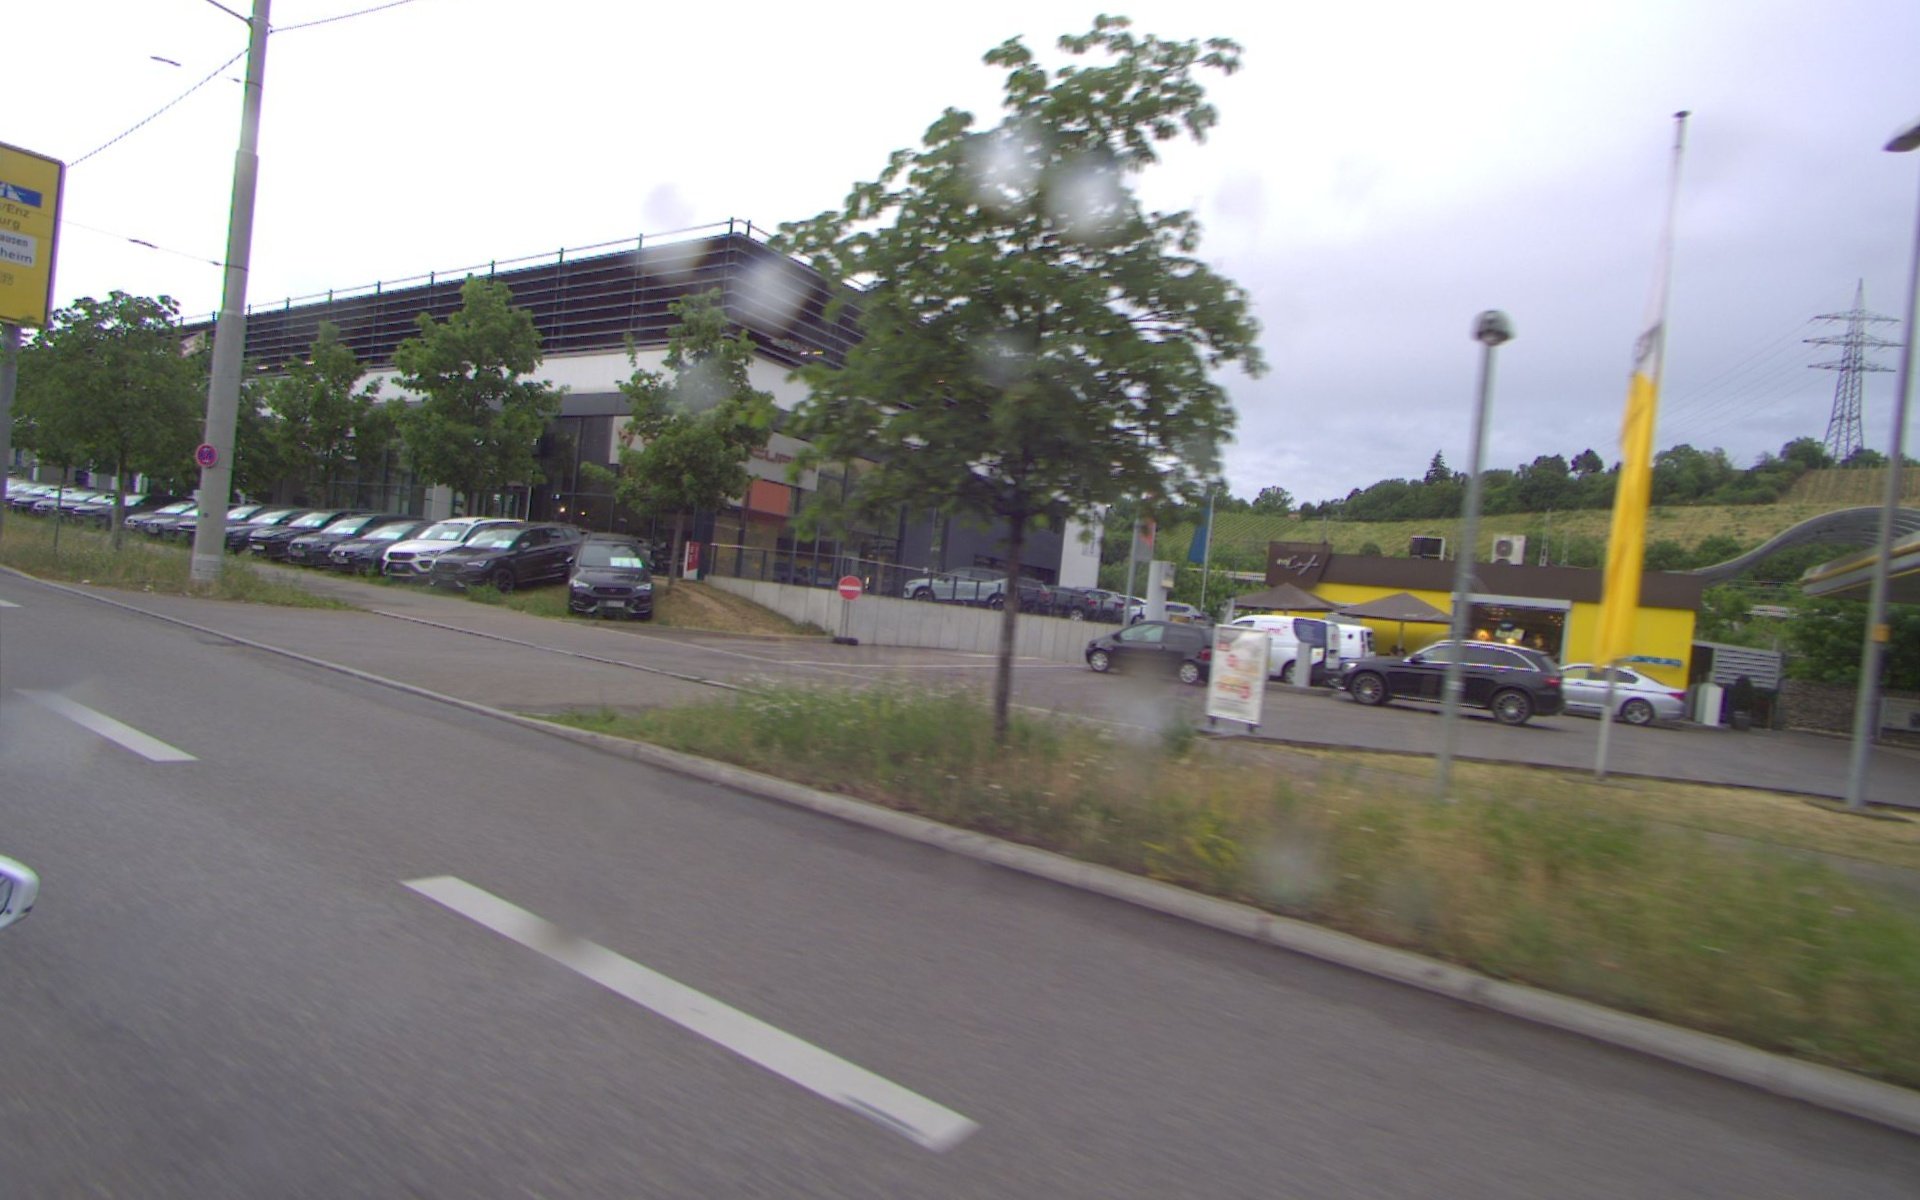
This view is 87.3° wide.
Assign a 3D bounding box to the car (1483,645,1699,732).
[{"bbox_3d":[16.921,2.320,27.215,4.639,1.629,1.995,7,1,32],"label":"car"}]

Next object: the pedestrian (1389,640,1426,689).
[{"bbox_3d":[13.338,1.920,29.988,0.766,1.334,0.800,7,1,16],"label":"pedestrian"}]

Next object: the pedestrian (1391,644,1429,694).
[{"bbox_3d":[12.948,1.971,28.967,0.766,1.334,0.800,7,1,16],"label":"pedestrian"}]

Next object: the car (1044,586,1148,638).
[{"bbox_3d":[5.976,0.520,44.609,4.236,1.664,1.844,8,1,1],"label":"car"}]

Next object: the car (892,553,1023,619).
[{"bbox_3d":[-0.065,-0.477,34.687,4.236,1.664,1.844,8,1,1],"label":"car"}]

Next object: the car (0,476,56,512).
[{"bbox_3d":[-48.439,-5.462,50.613,1.834,1.582,4.152,6,1,8],"label":"car"}]

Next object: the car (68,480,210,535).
[{"bbox_3d":[-32.371,-3.619,39.815,1.700,1.596,4.056,6,1,14],"label":"car"}]

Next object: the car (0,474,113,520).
[{"bbox_3d":[-41.511,-4.684,45.803,1.873,1.590,4.152,6,1,11],"label":"car"}]

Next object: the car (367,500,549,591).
[{"bbox_3d":[-13.396,-1.377,27.187,1.786,2.017,4.499,6,1,14],"label":"car"}]

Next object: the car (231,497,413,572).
[{"bbox_3d":[-19.789,-1.986,31.450,1.788,1.819,4.495,7,1,22],"label":"car"}]

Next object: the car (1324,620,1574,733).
[{"bbox_3d":[10.767,1.609,22.242,4.639,1.759,1.995,7,1,32],"label":"car"}]

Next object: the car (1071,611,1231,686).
[{"bbox_3d":[4.593,1.156,24.314,3.432,1.355,1.392,7,1,32],"label":"car"}]

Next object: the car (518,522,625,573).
[{"bbox_3d":[-14.868,-2.016,38.458,3.835,1.491,1.781,7,0,33],"label":"car"}]

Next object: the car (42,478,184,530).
[{"bbox_3d":[-34.734,-3.891,41.401,1.760,1.554,4.151,6,1,14],"label":"car"}]

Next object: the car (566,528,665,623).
[{"bbox_3d":[-8.165,-0.652,23.604,1.853,1.840,4.365,5,2,-22],"label":"car"}]

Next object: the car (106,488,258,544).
[{"bbox_3d":[-28.439,-3.030,36.927,1.656,1.521,4.053,7,1,22],"label":"car"}]

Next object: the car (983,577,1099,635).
[{"bbox_3d":[3.221,0.236,39.586,4.233,1.664,1.845,8,1,9],"label":"car"}]

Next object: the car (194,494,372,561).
[{"bbox_3d":[-22.084,-2.314,33.029,1.789,1.640,4.494,7,1,25],"label":"car"}]

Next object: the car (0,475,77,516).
[{"bbox_3d":[-46.092,-5.201,49.133,1.792,1.625,4.152,6,1,9],"label":"car"}]

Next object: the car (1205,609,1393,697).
[{"bbox_3d":[9.737,1.476,29.016,4.640,1.884,1.994,7,1,33],"label":"car"}]

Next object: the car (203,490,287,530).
[{"bbox_3d":[-47.150,-5.907,66.400,1.913,2.000,4.029,7,0,33],"label":"car"}]

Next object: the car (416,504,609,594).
[{"bbox_3d":[-11.243,-1.218,25.619,1.844,1.813,4.387,7,1,20],"label":"car"}]

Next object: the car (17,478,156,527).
[{"bbox_3d":[-37.067,-4.118,42.834,1.760,1.477,4.151,6,1,14],"label":"car"}]

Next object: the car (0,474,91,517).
[{"bbox_3d":[-43.856,-4.954,47.383,1.792,1.590,4.152,6,1,9],"label":"car"}]

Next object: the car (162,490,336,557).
[{"bbox_3d":[-24.098,-2.551,34.303,1.788,1.684,4.495,7,1,22],"label":"car"}]

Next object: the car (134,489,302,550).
[{"bbox_3d":[-26.311,-2.819,35.860,1.788,1.589,4.495,7,1,22],"label":"car"}]

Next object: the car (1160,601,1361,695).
[{"bbox_3d":[7.992,1.237,26.917,4.639,1.884,1.995,7,1,32],"label":"car"}]

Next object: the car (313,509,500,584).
[{"bbox_3d":[-15.488,-1.440,28.450,1.787,1.658,4.497,7,1,20],"label":"car"}]

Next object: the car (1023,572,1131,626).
[{"bbox_3d":[4.896,-0.046,42.317,4.234,1.664,1.845,8,1,7],"label":"car"}]

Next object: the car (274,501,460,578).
[{"bbox_3d":[-17.476,-1.717,29.914,1.788,1.775,4.495,7,1,22],"label":"car"}]

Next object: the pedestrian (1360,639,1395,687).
[{"bbox_3d":[12.278,1.843,29.612,0.700,1.334,0.800,7,1,16],"label":"pedestrian"}]

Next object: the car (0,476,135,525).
[{"bbox_3d":[-39.272,-4.358,44.340,1.796,1.548,4.151,6,1,14],"label":"car"}]
